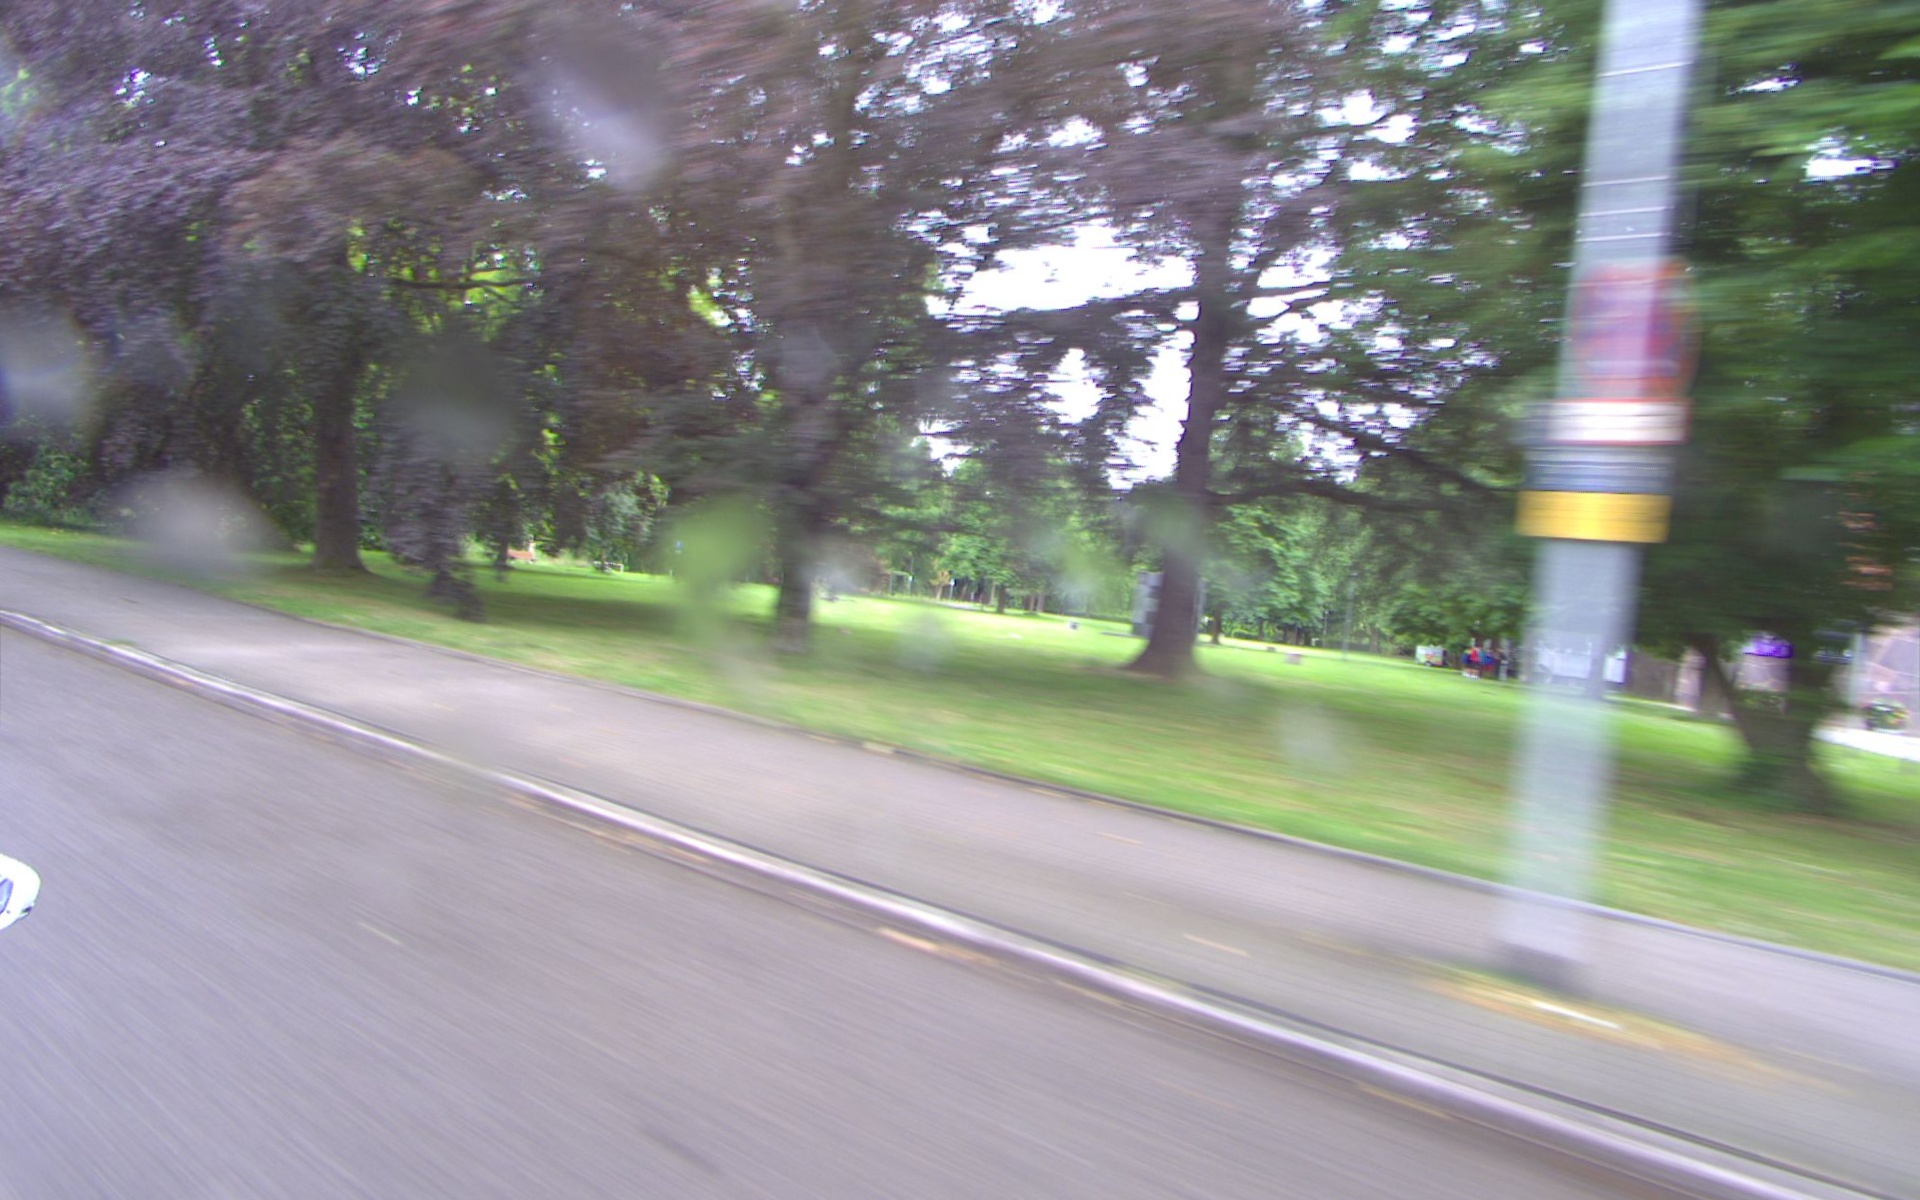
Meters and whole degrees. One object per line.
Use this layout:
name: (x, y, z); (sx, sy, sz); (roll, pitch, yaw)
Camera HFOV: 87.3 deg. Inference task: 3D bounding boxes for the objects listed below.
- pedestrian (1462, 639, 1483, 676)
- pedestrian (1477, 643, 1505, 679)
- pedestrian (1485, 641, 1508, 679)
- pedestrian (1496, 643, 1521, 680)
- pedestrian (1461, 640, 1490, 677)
pedestrian: (26.163, 2.935, 51.344); (0.758, 1.783, 0.840); (7, -1, 26)
pedestrian: (27.736, 3.170, 52.549); (0.842, 1.783, 0.841); (7, -1, -2)
pedestrian: (27.233, 3.042, 51.061); (0.843, 1.783, 0.840); (7, -1, 27)
pedestrian: (28.173, 3.185, 51.662); (0.825, 1.783, 0.772); (7, -1, 19)
pedestrian: (26.820, 3.040, 52.343); (0.845, 1.783, 0.838); (7, -1, -17)
